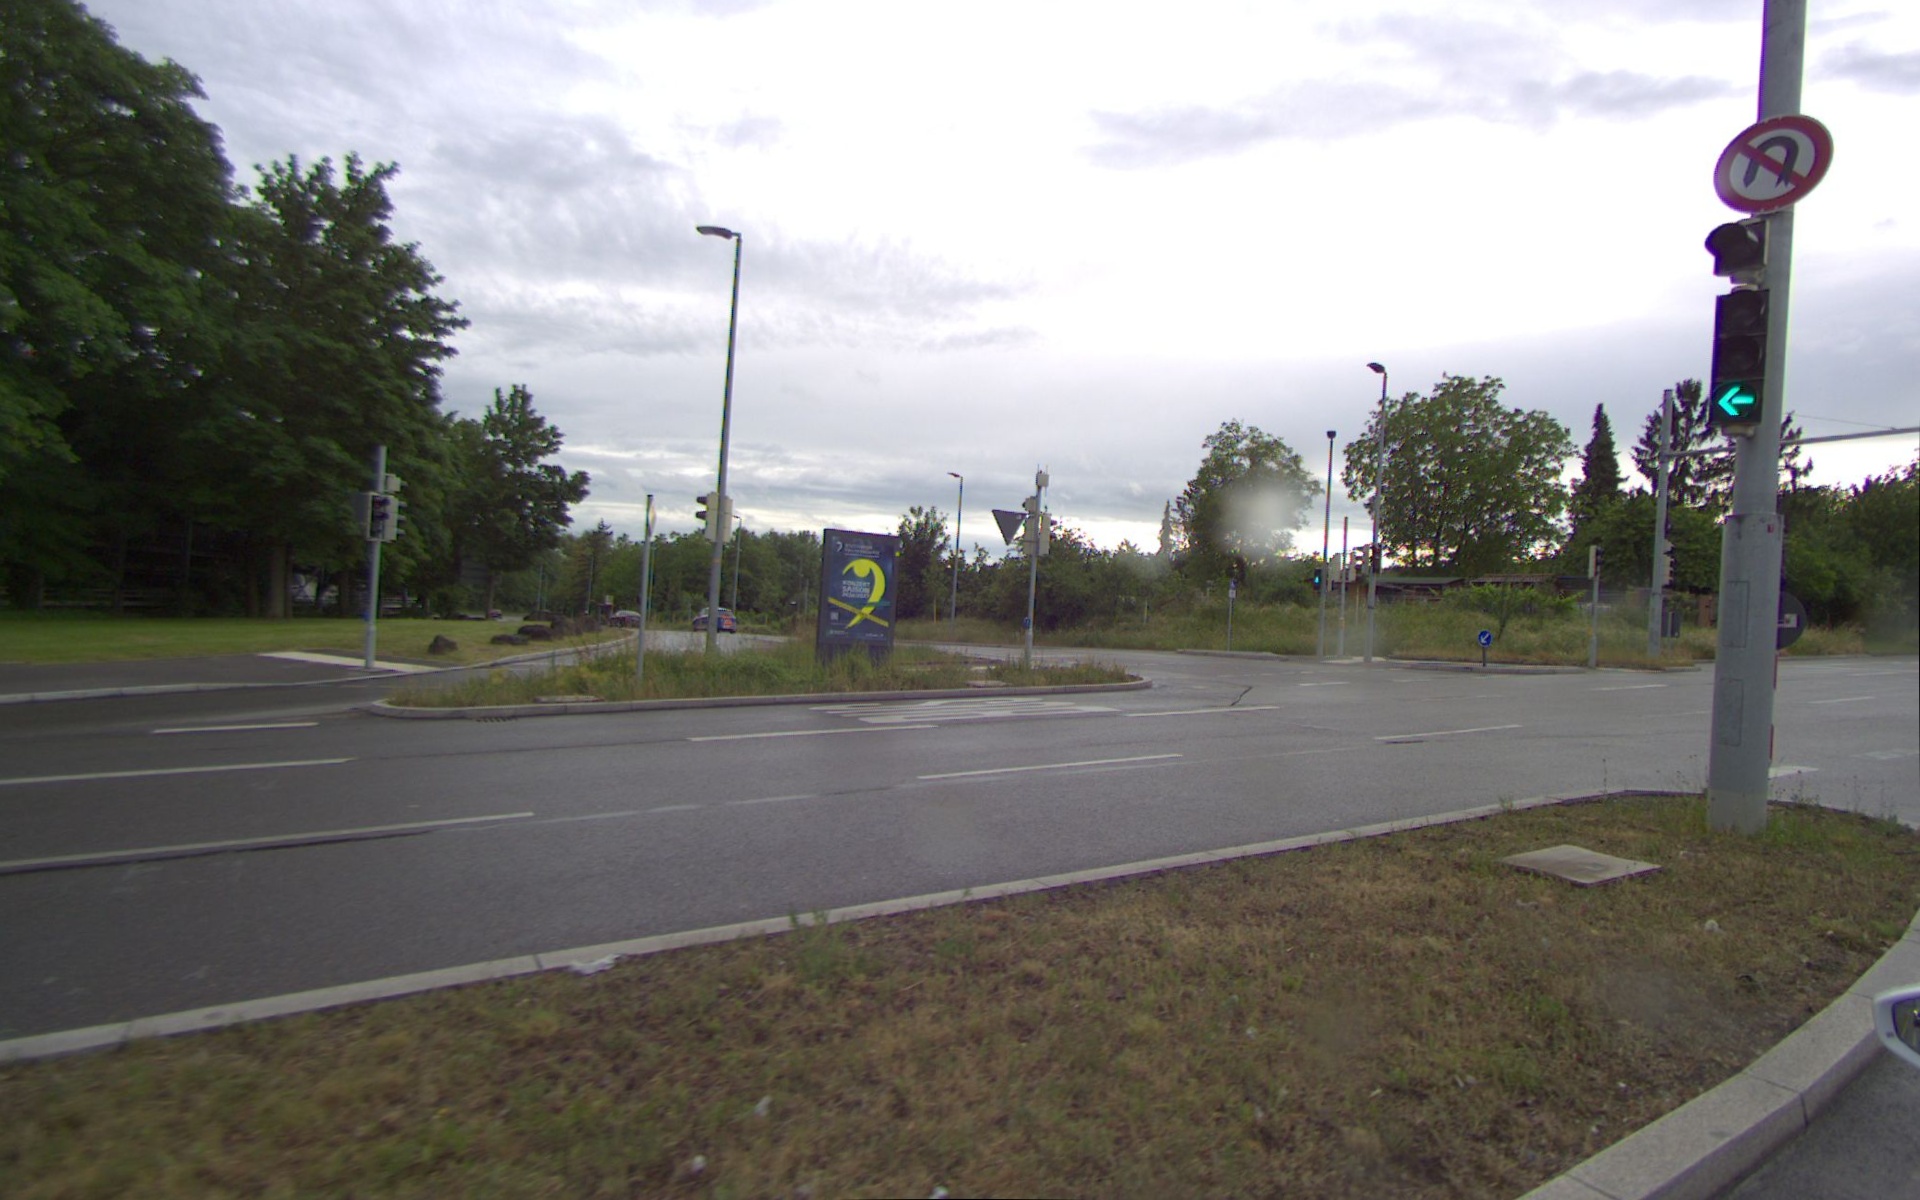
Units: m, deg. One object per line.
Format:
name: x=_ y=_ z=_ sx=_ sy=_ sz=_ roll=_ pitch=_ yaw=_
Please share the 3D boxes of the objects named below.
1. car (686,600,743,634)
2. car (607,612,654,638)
car: x=-15.171 y=1.031 z=61.921 sx=2.061 sy=1.741 sz=4.159 roll=3 pitch=1 yaw=-33
car: x=-25.224 y=1.874 z=76.739 sx=2.151 sy=1.603 sz=4.619 roll=3 pitch=1 yaw=-34
